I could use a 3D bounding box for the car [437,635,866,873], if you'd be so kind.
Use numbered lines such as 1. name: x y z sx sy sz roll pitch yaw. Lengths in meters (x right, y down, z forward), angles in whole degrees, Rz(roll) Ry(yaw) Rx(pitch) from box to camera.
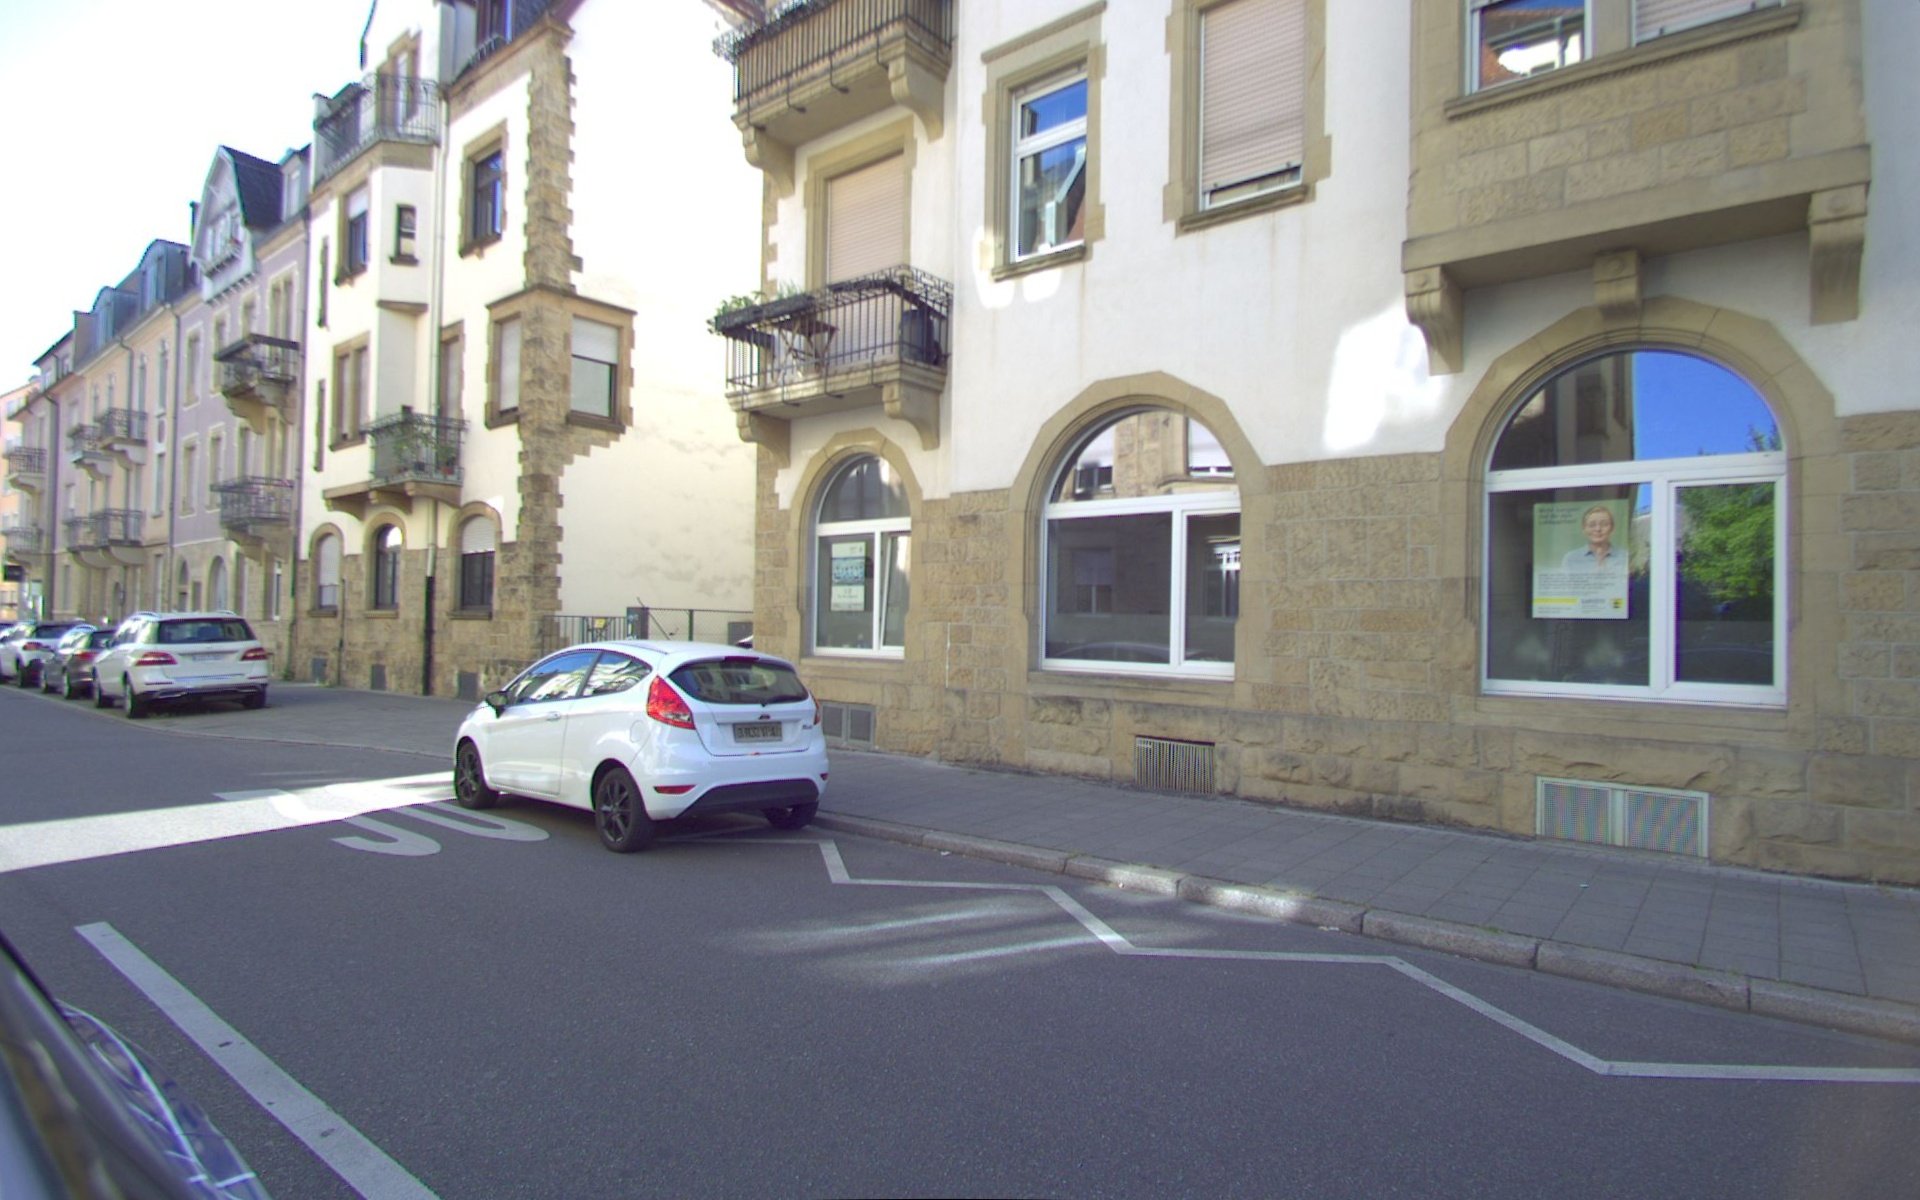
1. car: -2.602 1.047 8.142 3.642 1.469 1.634 -2 -5 42

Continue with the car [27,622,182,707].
1. car: -18.439 1.295 21.741 4.319 1.519 1.866 -1 2 41

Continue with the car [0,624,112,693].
1. car: -22.943 1.388 25.422 4.319 1.520 1.866 -1 0 41

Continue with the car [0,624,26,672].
1. car: -33.135 1.613 34.209 4.319 1.520 1.866 -1 0 41

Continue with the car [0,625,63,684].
1. car: -27.151 1.522 28.862 4.317 1.511 1.833 -1 0 41

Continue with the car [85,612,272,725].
1. car: -13.964 1.103 18.002 4.209 1.740 1.866 -1 0 41
